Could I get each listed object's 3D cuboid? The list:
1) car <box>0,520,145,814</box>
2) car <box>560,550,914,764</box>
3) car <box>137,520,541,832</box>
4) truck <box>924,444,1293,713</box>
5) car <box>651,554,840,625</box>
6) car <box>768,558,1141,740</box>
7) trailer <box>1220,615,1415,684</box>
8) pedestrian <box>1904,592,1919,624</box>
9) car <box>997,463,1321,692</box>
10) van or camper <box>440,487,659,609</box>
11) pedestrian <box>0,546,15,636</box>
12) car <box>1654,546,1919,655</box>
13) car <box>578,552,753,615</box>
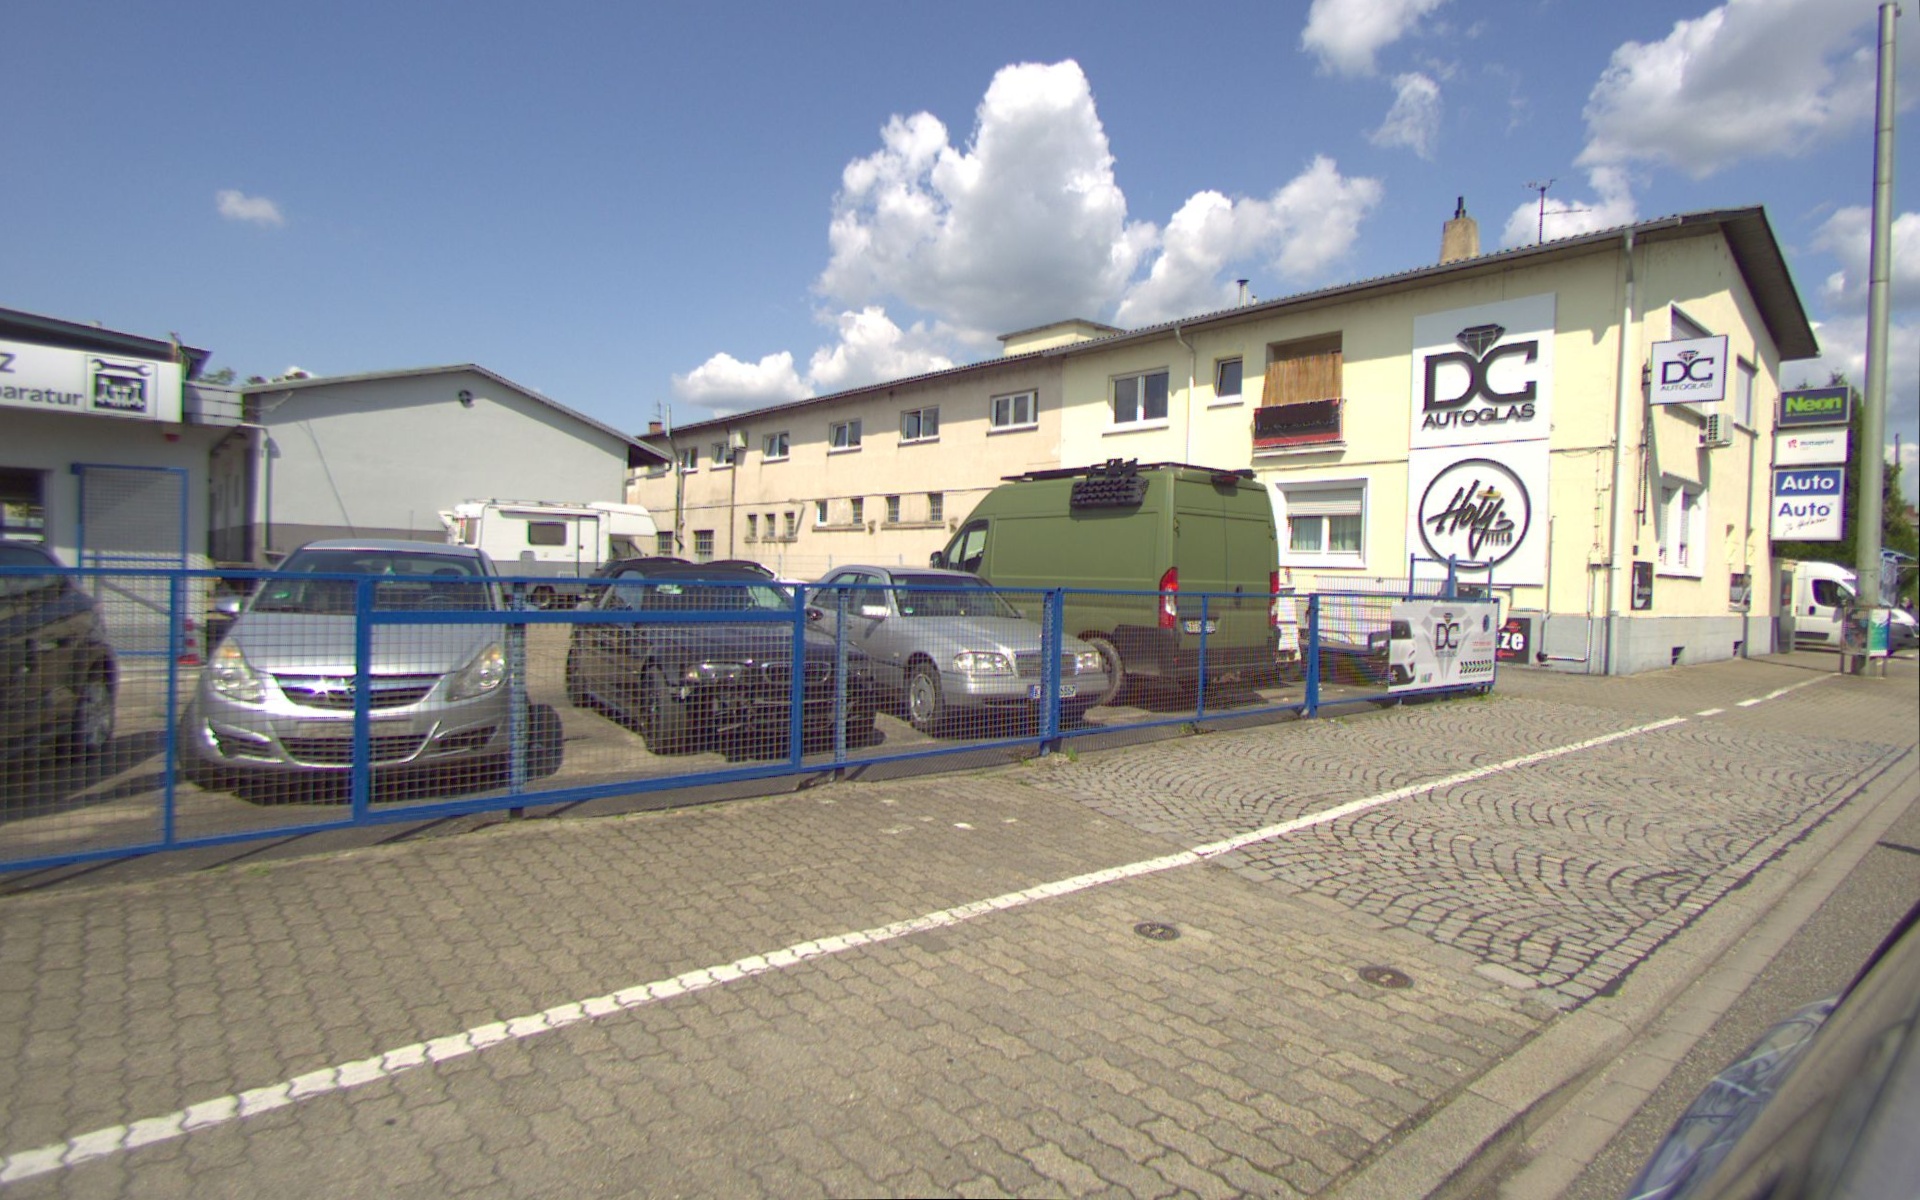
[{"bbox_3d":[-5.751,0.321,5.036,1.685,1.497,4.012,1,2,-25],"label":"car"},{"bbox_3d":[-2.129,0.307,8.748,1.768,1.403,3.837,1,2,-32],"label":"car"},{"bbox_3d":[-3.955,0.299,7.104,1.766,1.497,4.158,1,2,-24],"label":"car"},{"bbox_3d":[1.619,-0.287,12.148,2.033,2.639,3.996,1,2,-40],"label":"truck"},{"bbox_3d":[-4.930,-0.248,23.522,3.939,1.497,1.719,0,2,-41],"label":"car"},{"bbox_3d":[-0.300,0.317,10.208,1.768,1.413,4.216,1,2,-33],"label":"car"},{"bbox_3d":[5.078,0.667,14.531,1.245,0.776,2.330,0,2,-39],"label":"trailer"},{"bbox_3d":[48.973,0.404,51.823,0.902,1.606,0.816,1,1,-41],"label":"pedestrian"},{"bbox_3d":[2.608,-0.348,14.145,1.771,2.702,4.208,1,2,-40],"label":"car"},{"bbox_3d":[-11.012,-1.326,27.370,4.971,2.999,2.284,0,2,-42],"label":"van or camper"},{"bbox_3d":[-13.263,-0.131,13.843,0.479,1.228,0.501,1,1,-42],"label":"pedestrian"},{"bbox_3d":[22.710,-0.086,27.411,1.963,2.404,5.989,1,5,-38],"label":"car"},{"bbox_3d":[-7.483,-0.412,25.892,3.939,1.497,1.719,0,2,-41],"label":"car"}]
